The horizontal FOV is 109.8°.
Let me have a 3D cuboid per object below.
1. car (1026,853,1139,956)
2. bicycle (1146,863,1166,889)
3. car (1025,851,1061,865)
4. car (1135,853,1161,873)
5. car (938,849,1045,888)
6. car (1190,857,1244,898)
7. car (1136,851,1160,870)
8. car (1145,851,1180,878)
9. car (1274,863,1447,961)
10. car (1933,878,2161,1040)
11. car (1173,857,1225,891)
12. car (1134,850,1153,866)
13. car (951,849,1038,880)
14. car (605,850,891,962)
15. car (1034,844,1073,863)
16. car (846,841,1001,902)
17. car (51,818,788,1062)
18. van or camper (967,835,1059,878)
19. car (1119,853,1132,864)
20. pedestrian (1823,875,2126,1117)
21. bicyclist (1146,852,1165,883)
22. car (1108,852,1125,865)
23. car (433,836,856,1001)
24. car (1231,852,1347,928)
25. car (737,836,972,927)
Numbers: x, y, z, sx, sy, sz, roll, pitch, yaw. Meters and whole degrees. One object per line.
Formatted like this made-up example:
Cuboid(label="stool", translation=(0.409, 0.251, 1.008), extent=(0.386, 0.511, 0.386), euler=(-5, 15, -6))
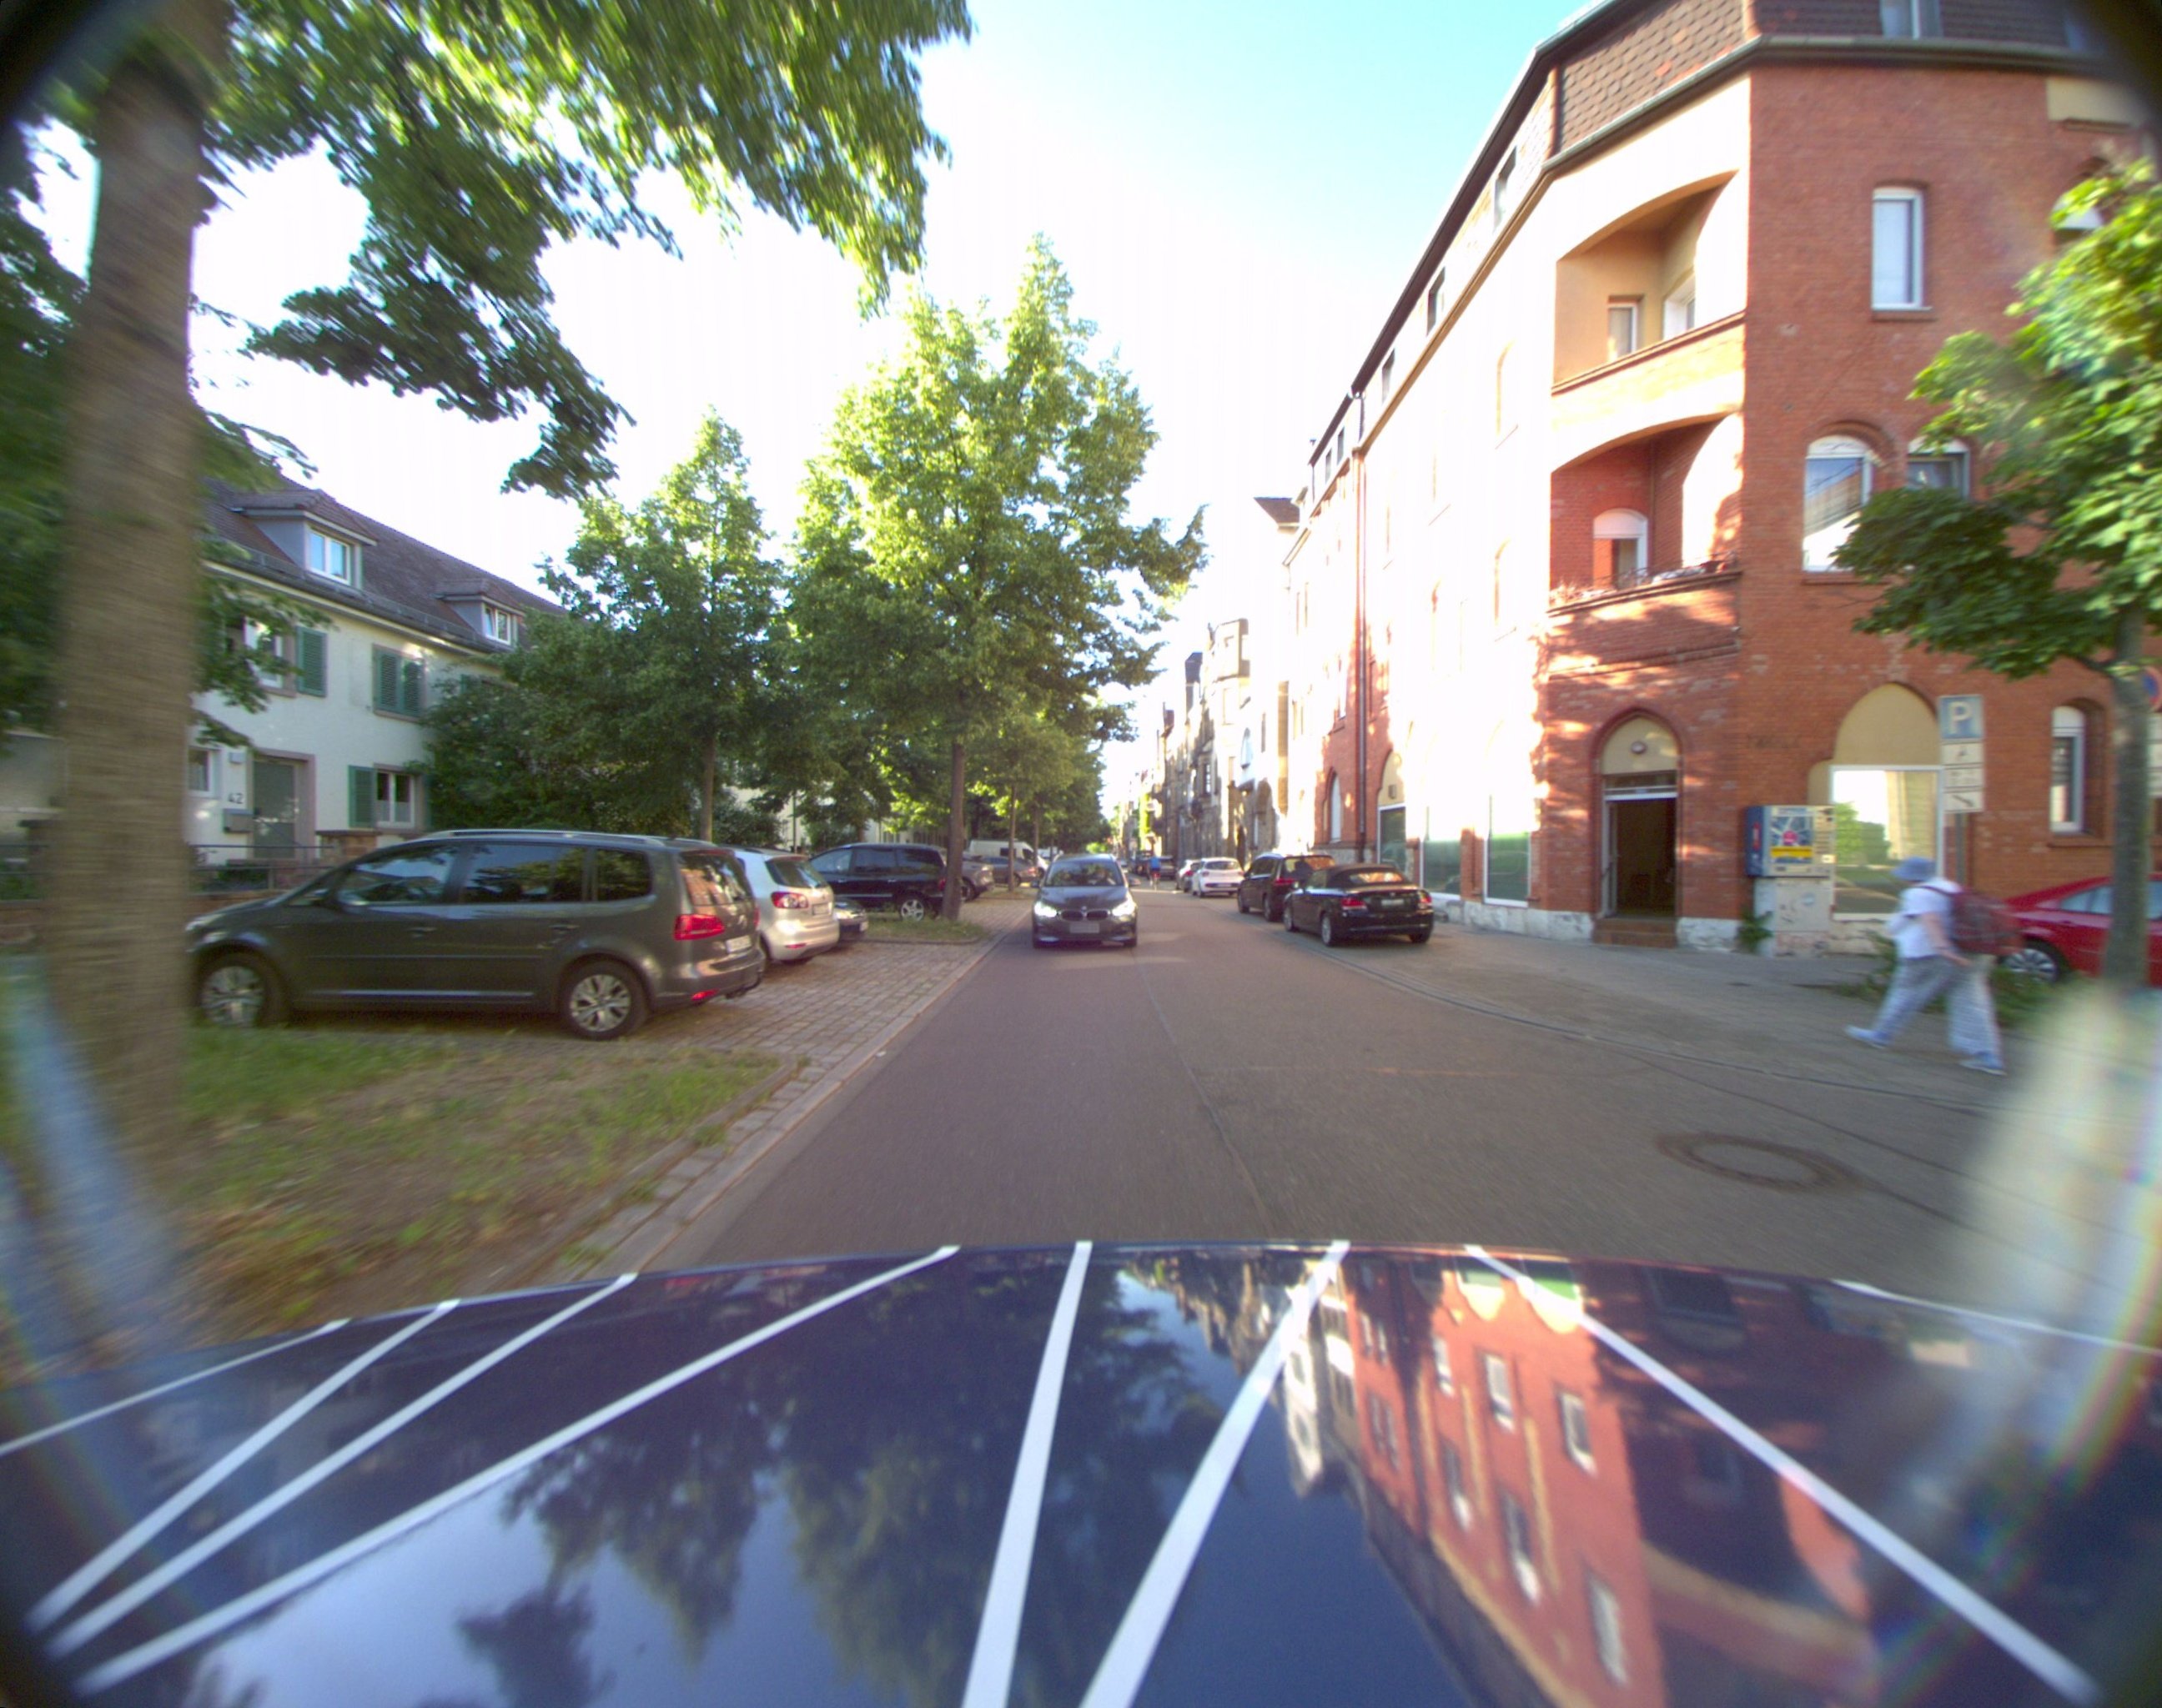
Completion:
Cuboid(label="car", translation=(0.073, 0.817, 14.469), extent=(1.753, 1.596, 4.551), euler=(-2, 0, 1))
Cuboid(label="bicycle", translation=(3.518, 1.021, 35.982), extent=(0.759, 1.101, 1.907), euler=(1, 1, 0))
Cuboid(label="car", translation=(-4.223, 0.405, 84.676), extent=(3.998, 1.504, 1.572), euler=(1, 0, -3))
Cuboid(label="car", translation=(5.495, 0.683, 62.486), extent=(1.774, 1.493, 4.211), euler=(0, 2, 0))
Cuboid(label="car", translation=(-4.224, 0.681, 36.413), extent=(4.850, 1.530, 1.894), euler=(3, 0, -1))
Cuboid(label="car", translation=(5.202, 0.849, 29.352), extent=(1.570, 1.462, 3.592), euler=(-1, 0, 2))
Cuboid(label="car", translation=(6.056, 0.571, 69.059), extent=(1.774, 1.658, 4.212), euler=(-1, 1, 0))
Cuboid(label="car", translation=(5.374, 0.650, 50.457), extent=(1.881, 1.707, 4.339), euler=(-1, 0, 1))
Cuboid(label="car", translation=(4.966, 0.944, 14.179), extent=(1.640, 1.402, 4.333), euler=(-2, 1, 1))
Cuboid(label="car", translation=(11.244, 1.057, 6.991), extent=(1.640, 1.460, 4.657), euler=(-1, 1, 1))
Cuboid(label="car", translation=(5.296, 0.858, 34.485), extent=(1.681, 1.434, 4.111), euler=(-1, 0, 0))
Cuboid(label="car", translation=(6.082, 0.448, 74.485), extent=(1.633, 1.439, 3.856), euler=(-4, -1, 2))
Cuboid(label="car", translation=(-4.743, 0.565, 42.114), extent=(4.487, 1.427, 1.828), euler=(3, 0, 1))
Cuboid(label="car", translation=(-5.092, 0.762, 11.947), extent=(3.731, 1.445, 1.589), euler=(3, 0, 0))
Cuboid(label="car", translation=(-3.944, -0.021, 110.462), extent=(5.448, 2.646, 2.134), euler=(1, 0, 1))
Cuboid(label="car", translation=(-4.962, 0.537, 24.415), extent=(4.487, 1.624, 1.875), euler=(3, 0, 0))
Cuboid(label="car", translation=(-5.184, 0.666, 6.565), extent=(4.552, 1.624, 1.811), euler=(3, 0, -5))
Cuboid(label="van or camper", translation=(-4.384, 0.157, 49.801), extent=(5.734, 2.502, 2.162), euler=(3, 1, 0))
Cuboid(label="car", translation=(6.711, 0.670, 114.682), extent=(1.686, 1.496, 3.629), euler=(-4, -1, 2))
Cuboid(label="pedestrian", translation=(6.601, 0.994, 5.712), extent=(0.890, 1.569, 1.053), euler=(1, 4, 1))
Cuboid(label="bicyclist", translation=(3.526, 0.641, 36.076), extent=(0.761, 1.445, 0.948), euler=(1, 1, 0))
Cuboid(label="car", translation=(4.194, 0.501, 89.980), extent=(1.631, 1.469, 3.759), euler=(1, 0, -1))
Cuboid(label="car", translation=(-5.253, 0.722, 9.477), extent=(4.282, 1.624, 1.691), euler=(3, 0, 4))
Cuboid(label="car", translation=(5.142, 0.807, 19.402), extent=(1.673, 1.671, 4.349), euler=(-1, 1, -1))
Cuboid(label="car", translation=(-4.942, 0.584, 17.038), extent=(4.592, 1.667, 1.907), euler=(3, 0, 2))
